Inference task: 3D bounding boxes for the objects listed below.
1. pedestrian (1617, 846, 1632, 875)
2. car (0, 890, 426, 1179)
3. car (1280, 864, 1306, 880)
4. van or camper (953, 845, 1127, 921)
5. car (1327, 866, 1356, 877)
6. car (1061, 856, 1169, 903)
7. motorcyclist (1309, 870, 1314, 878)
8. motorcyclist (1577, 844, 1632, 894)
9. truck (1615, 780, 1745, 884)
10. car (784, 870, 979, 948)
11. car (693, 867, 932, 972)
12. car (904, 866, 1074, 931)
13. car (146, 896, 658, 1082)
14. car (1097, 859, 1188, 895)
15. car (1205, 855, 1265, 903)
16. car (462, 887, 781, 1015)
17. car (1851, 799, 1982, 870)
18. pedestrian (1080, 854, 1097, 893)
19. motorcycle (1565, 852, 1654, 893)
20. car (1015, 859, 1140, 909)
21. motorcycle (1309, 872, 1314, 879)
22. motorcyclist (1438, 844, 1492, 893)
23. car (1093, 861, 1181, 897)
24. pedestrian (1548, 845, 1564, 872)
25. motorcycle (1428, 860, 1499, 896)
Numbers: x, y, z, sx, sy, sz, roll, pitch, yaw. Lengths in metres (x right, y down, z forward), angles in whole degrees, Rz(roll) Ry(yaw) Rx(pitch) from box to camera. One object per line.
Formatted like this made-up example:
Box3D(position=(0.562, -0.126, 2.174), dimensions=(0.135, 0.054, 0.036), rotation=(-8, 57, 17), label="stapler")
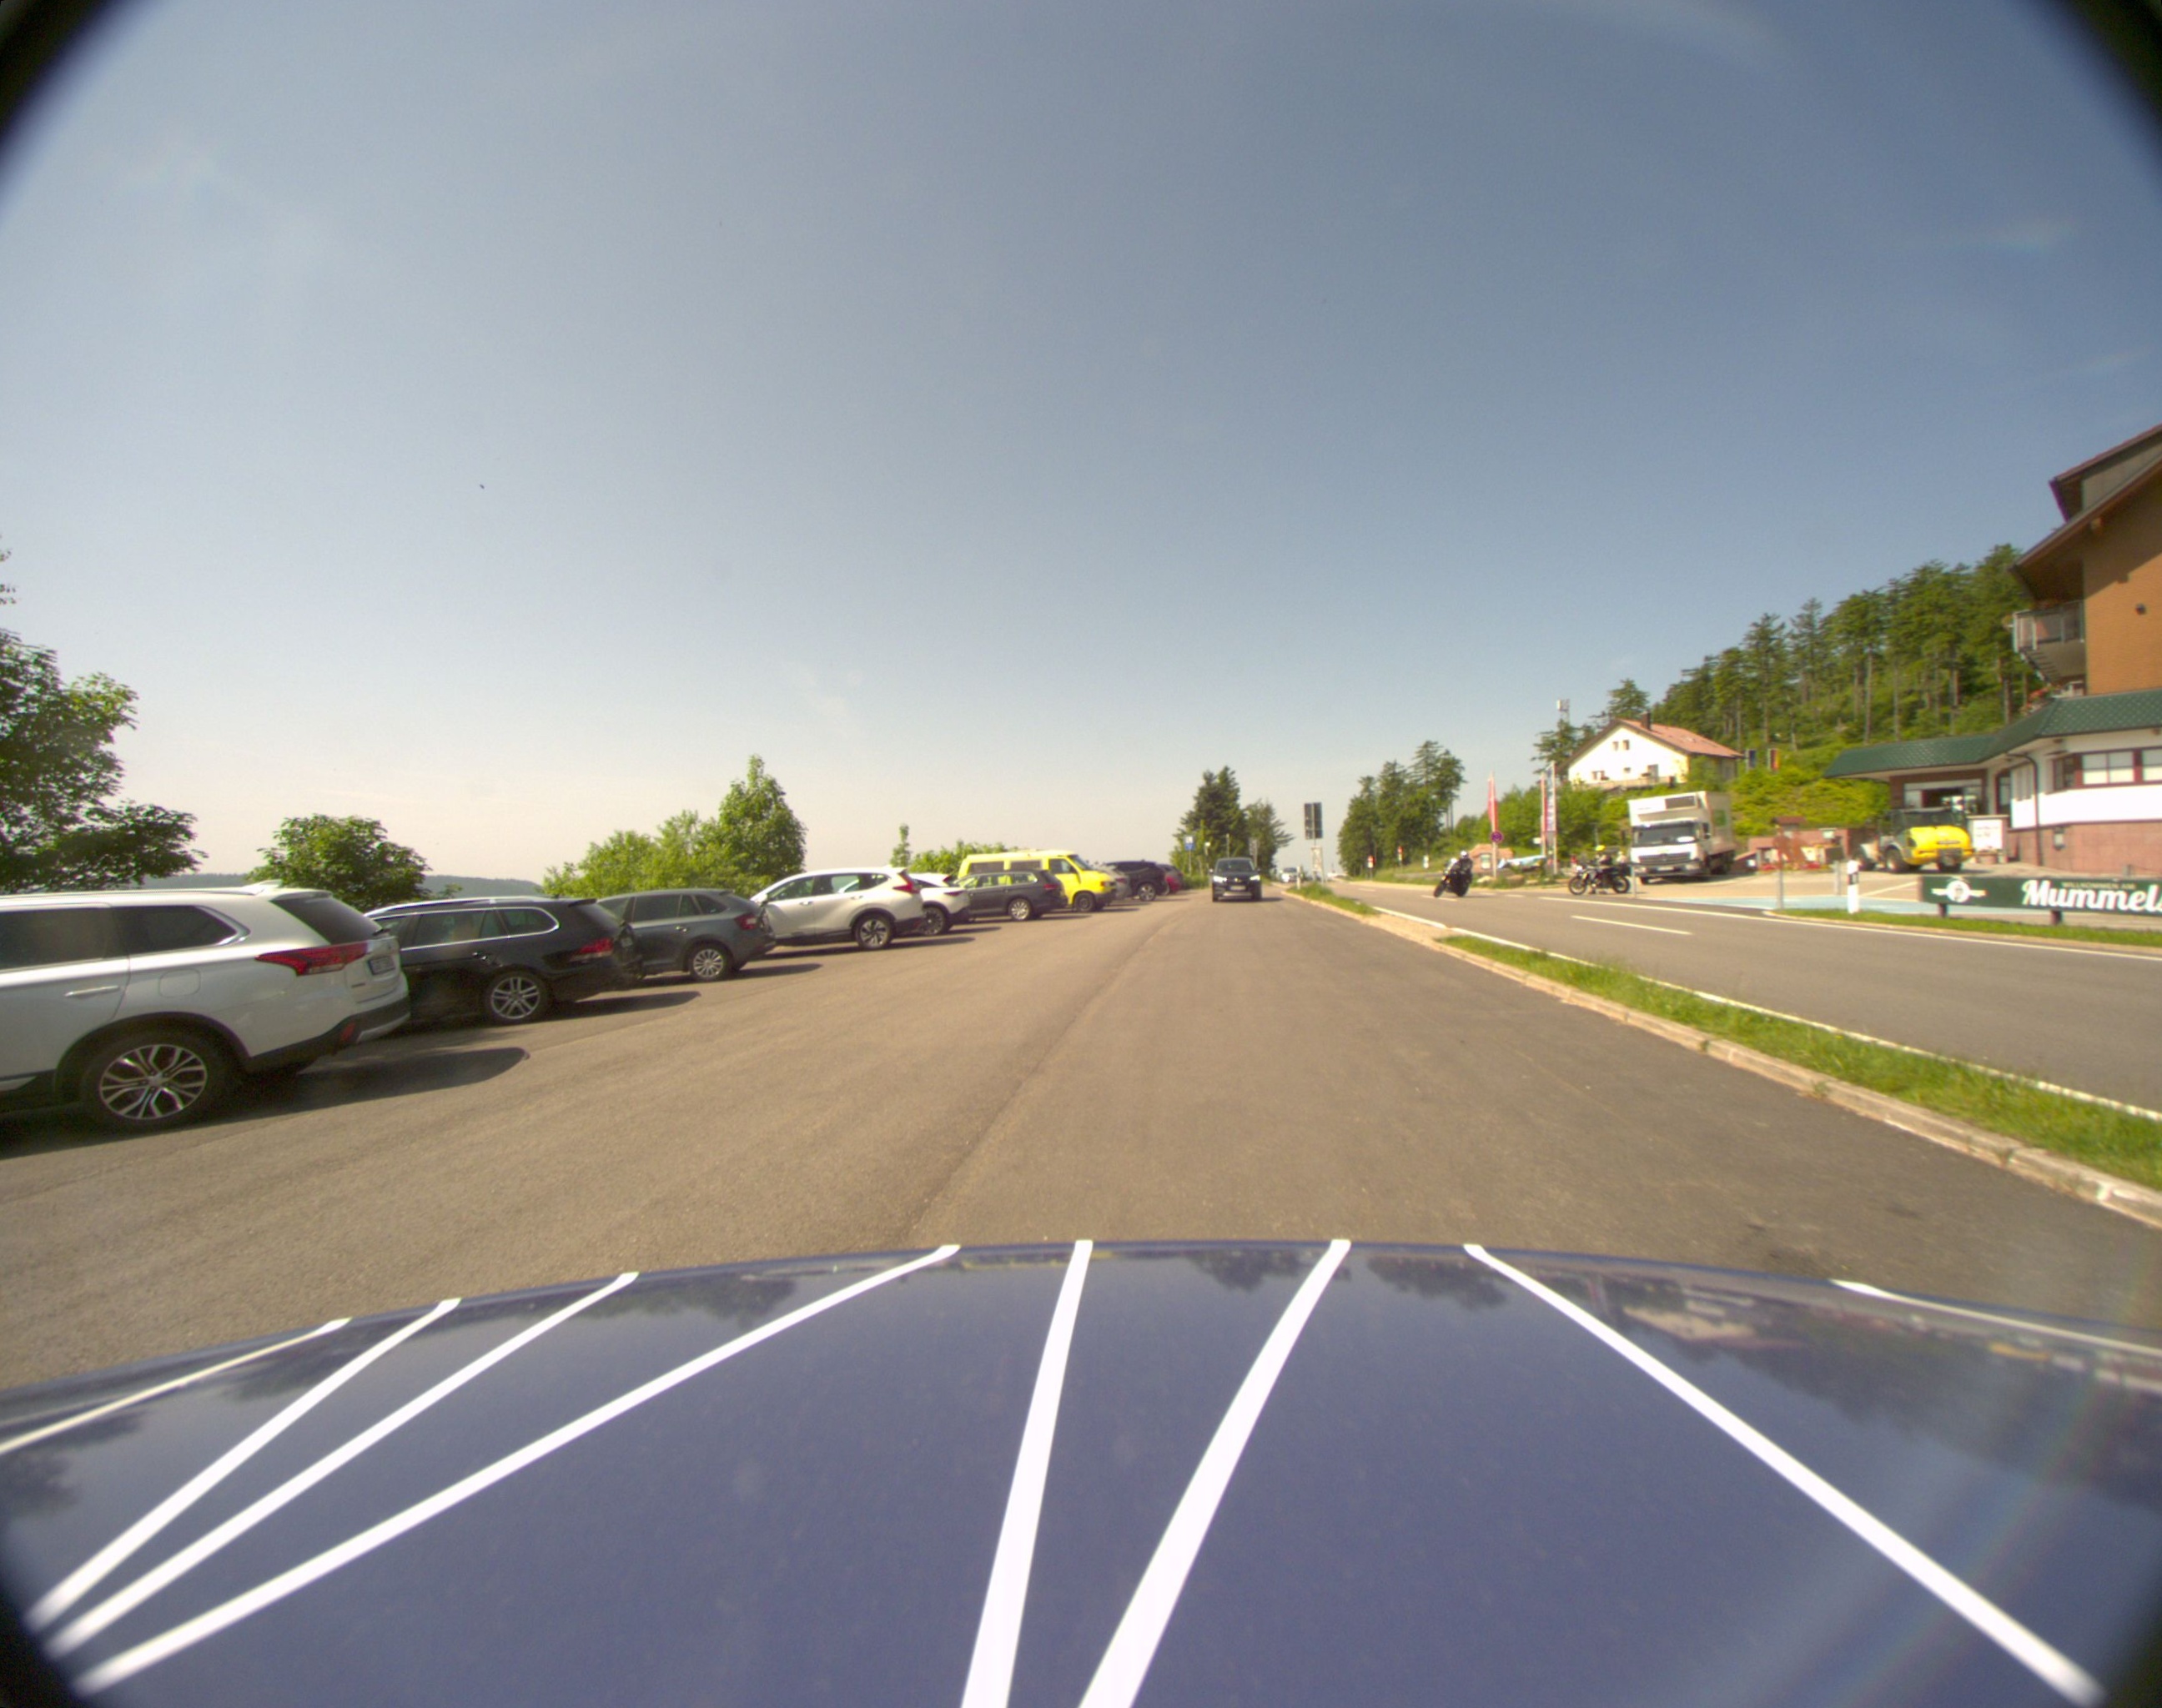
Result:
Box3D(position=(31.788, 0.367, 44.449), dimensions=(0.654, 1.679, 0.574), rotation=(0, 0, -44), label="pedestrian")
Box3D(position=(-7.668, 1.255, 5.358), dimensions=(4.232, 1.684, 1.860), rotation=(-3, 0, -28), label="car")
Box3D(position=(18.888, 1.593, 67.927), dimensions=(1.779, 1.448, 4.003), rotation=(0, -1, 9), label="car")
Box3D(position=(-1.275, 0.938, 24.266), dimensions=(5.098, 2.001, 1.884), rotation=(-4, -1, 14), label="van or camper")
Box3D(position=(48.005, 3.290, 139.971), dimensions=(4.724, 1.870, 1.934), rotation=(2, -1, 12), label="car")
Box3D(position=(1.351, 0.966, 29.647), dimensions=(3.996, 1.604, 1.917), rotation=(-3, -1, 4), label="car")
Box3D(position=(45.902, 3.973, 151.361), dimensions=(0.879, 1.632, 1.301), rotation=(0, 0, 20), label="motorcyclist")
Box3D(position=(18.815, 0.531, 27.341), dimensions=(1.247, 1.710, 1.065), rotation=(-2, 1, 3), label="motorcyclist")
Box3D(position=(26.848, -0.994, 33.844), dimensions=(8.788, 3.948, 3.063), rotation=(-3, -1, -43), label="truck")
Box3D(position=(-4.633, 1.265, 18.177), dimensions=(4.097, 1.491, 1.943), rotation=(-3, 0, -2), label="car")
Box3D(position=(-5.214, 1.235, 15.343), dimensions=(4.185, 1.640, 1.890), rotation=(-4, 0, -10), label="car")
Box3D(position=(-2.564, 1.247, 21.571), dimensions=(4.358, 1.478, 1.814), rotation=(-4, -1, 12), label="car")
Box3D(position=(-7.584, 1.423, 9.072), dimensions=(4.054, 1.452, 1.892), rotation=(-4, 0, -19), label="car")
Box3D(position=(3.074, 1.155, 38.501), dimensions=(4.406, 1.559, 1.909), rotation=(-3, -1, 4), label="car")
Box3D(position=(5.633, 0.860, 27.997), dimensions=(1.983, 1.607, 4.153), rotation=(-1, 0, 11), label="car")
Box3D(position=(-6.854, 1.402, 11.764), dimensions=(3.807, 1.450, 1.661), rotation=(-4, 0, -13), label="car")
Box3D(position=(31.537, -0.637, 28.859), dimensions=(1.995, 2.481, 4.008), rotation=(-1, -1, 26), label="car")
Box3D(position=(0.365, 0.960, 37.421), dimensions=(0.609, 1.888, 0.679), rotation=(-4, 0, 8), label="pedestrian")
Box3D(position=(19.002, 0.657, 27.351), dimensions=(2.442, 1.398, 1.006), rotation=(-2, 1, 3), label="motorcycle")
Box3D(position=(-0.090, 1.082, 27.503), dimensions=(4.157, 1.579, 1.707), rotation=(-3, -1, 13), label="car")
Box3D(position=(45.903, 4.294, 151.413), dimensions=(0.812, 1.258, 2.331), rotation=(0, -1, 19), label="motorcycle")
Box3D(position=(13.737, 0.525, 27.191), dimensions=(1.453, 1.708, 0.924), rotation=(1, 1, -18), label="motorcyclist")
Box3D(position=(2.615, 1.173, 36.131), dimensions=(3.997, 1.500, 1.843), rotation=(-2, -1, 0), label="car")
Box3D(position=(30.354, 0.290, 48.552), dimensions=(0.800, 1.706, 0.697), rotation=(0, 0, -44), label="pedestrian")
Box3D(position=(13.671, 0.848, 27.154), dimensions=(2.279, 1.249, 0.877), rotation=(1, 1, -18), label="motorcycle")
